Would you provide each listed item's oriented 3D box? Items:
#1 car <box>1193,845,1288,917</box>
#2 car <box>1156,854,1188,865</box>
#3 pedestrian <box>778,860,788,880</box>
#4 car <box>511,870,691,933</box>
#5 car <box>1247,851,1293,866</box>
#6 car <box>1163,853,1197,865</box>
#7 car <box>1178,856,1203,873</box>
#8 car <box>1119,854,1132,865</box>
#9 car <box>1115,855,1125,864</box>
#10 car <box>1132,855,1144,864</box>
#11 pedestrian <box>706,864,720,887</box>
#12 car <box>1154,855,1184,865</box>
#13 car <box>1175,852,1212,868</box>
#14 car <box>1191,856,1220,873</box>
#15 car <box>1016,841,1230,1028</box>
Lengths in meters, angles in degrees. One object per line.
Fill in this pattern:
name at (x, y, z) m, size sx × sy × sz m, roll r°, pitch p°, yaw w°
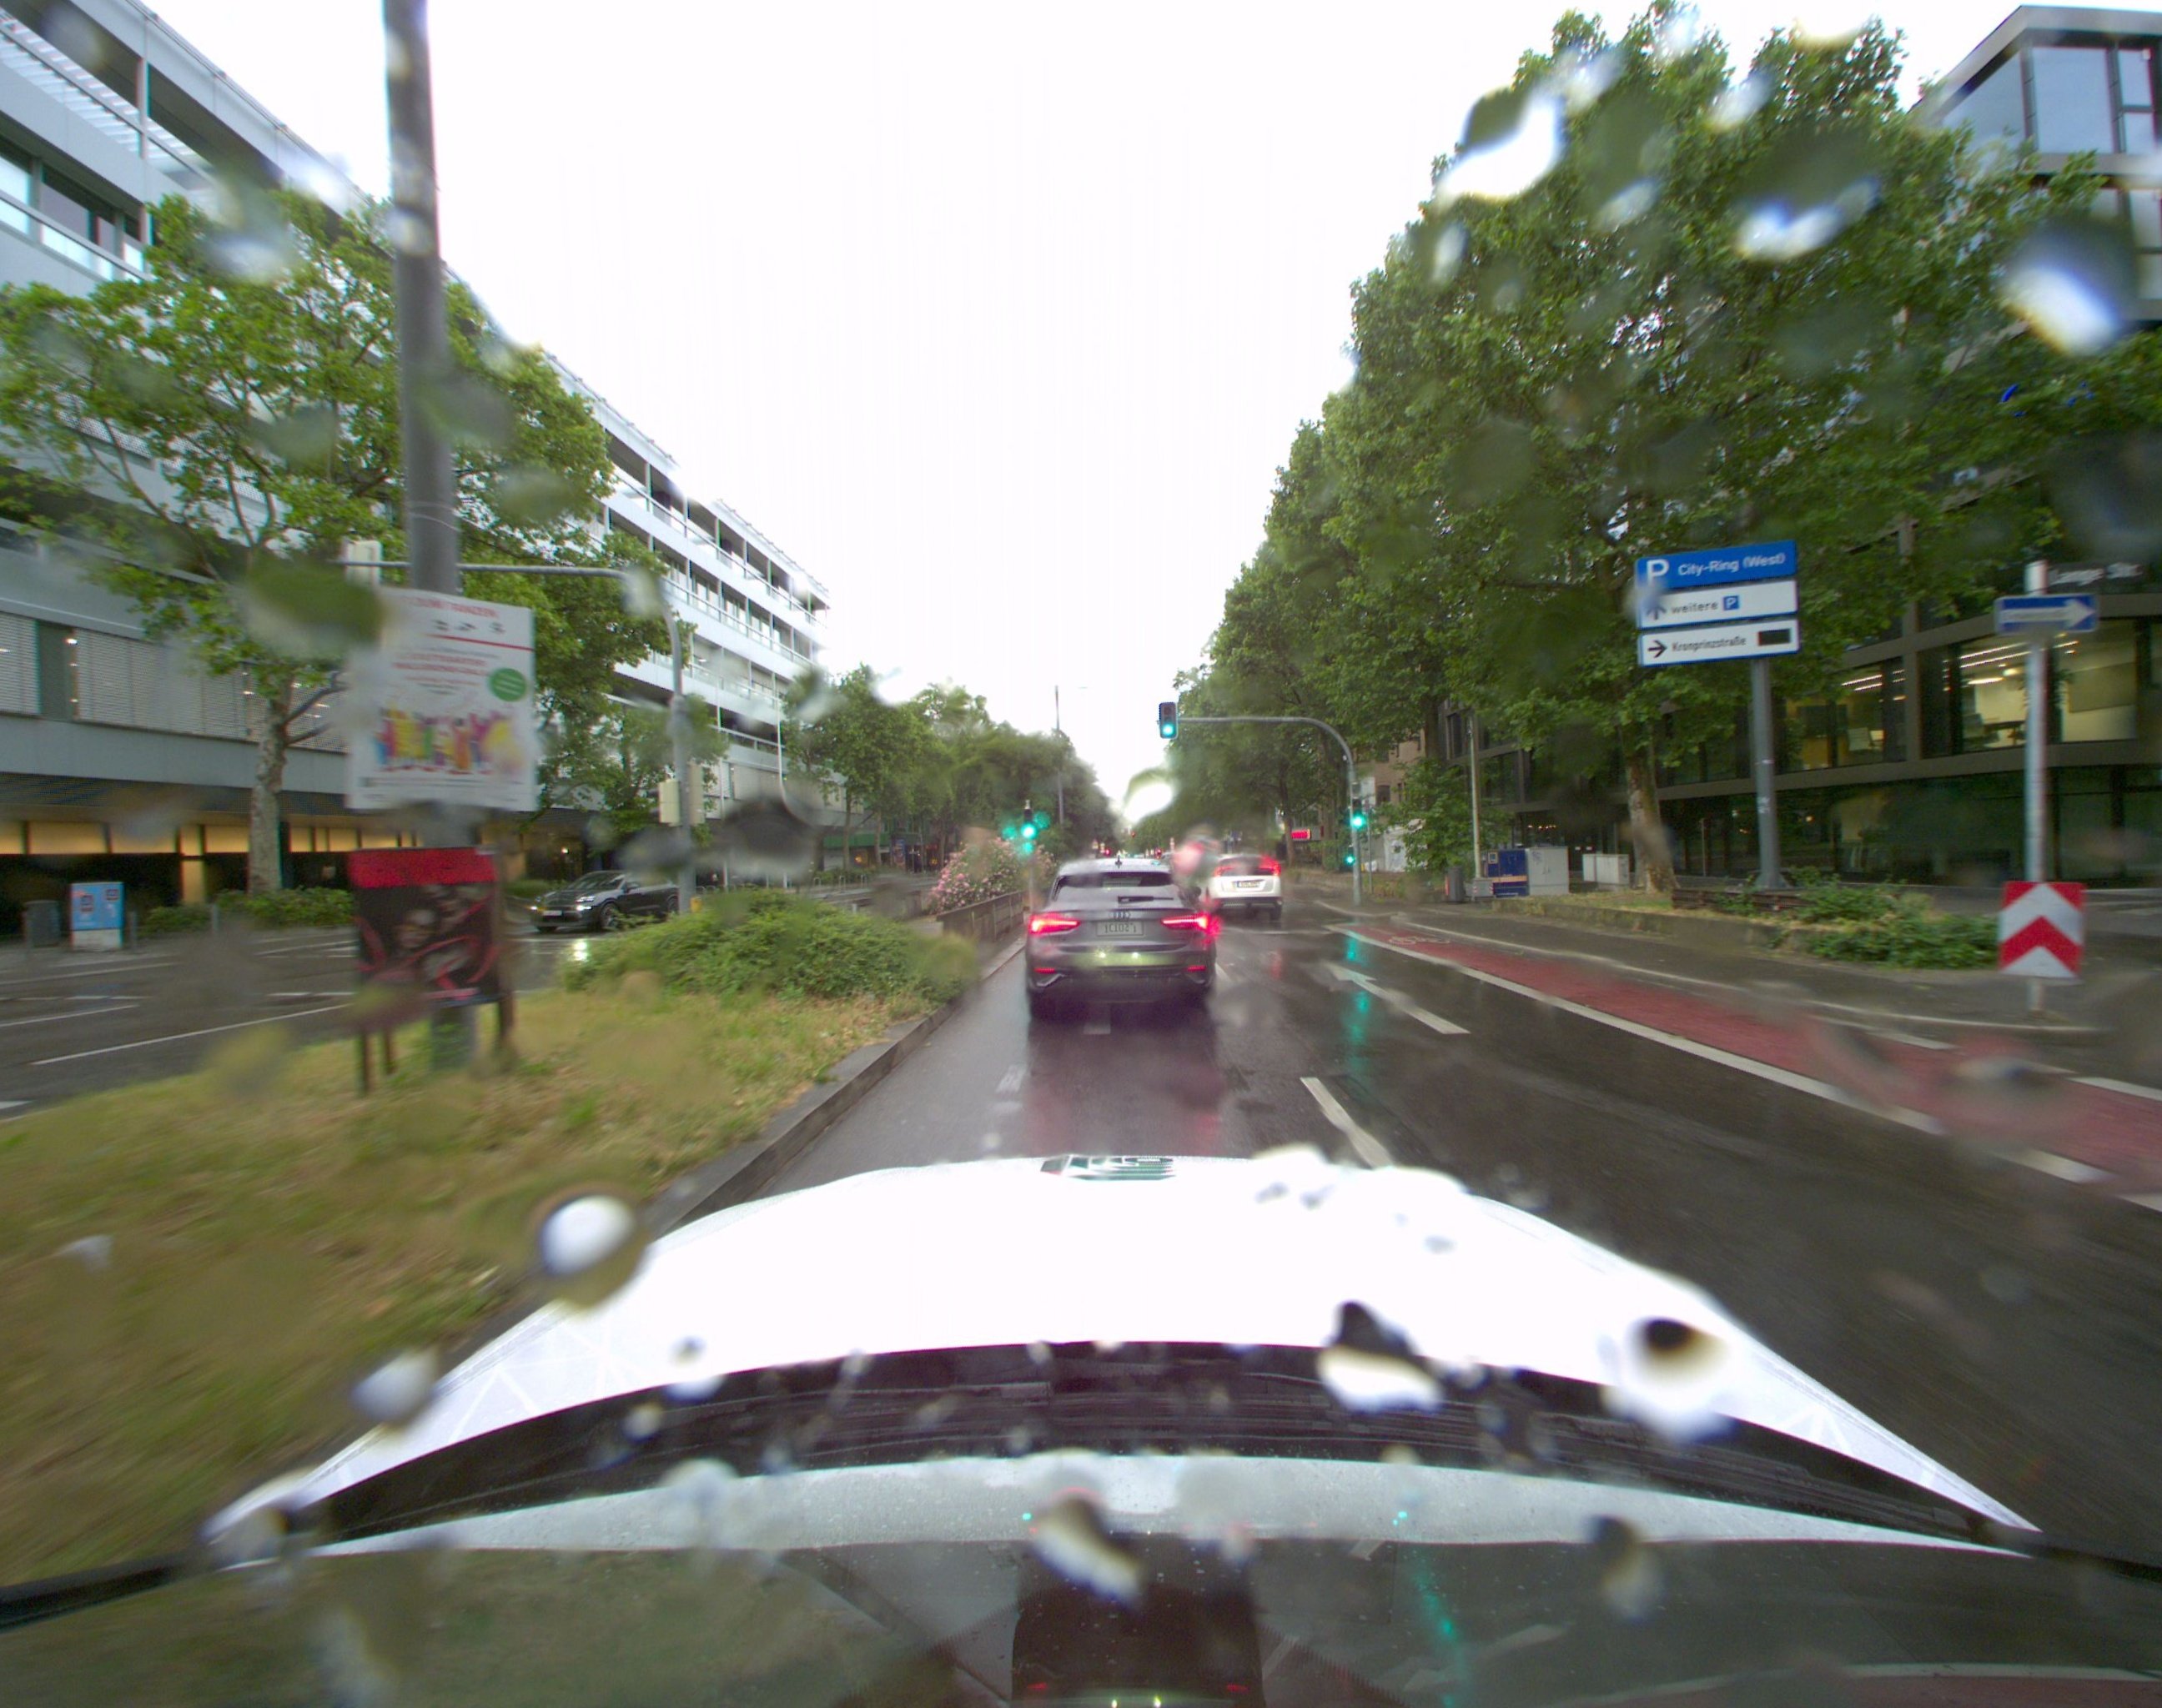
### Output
car at (4.042, 0.679, 21.263) m, size 1.870 × 1.697 × 4.002 m, roll 0°, pitch -1°, yaw 3°
car at (14.100, 0.840, 126.315) m, size 4.594 × 1.706 × 2.012 m, roll -1°, pitch -1°, yaw 30°
pedestrian at (-22.661, 1.211, 61.934) m, size 0.608 × 1.482 × 0.574 m, roll 0°, pitch -1°, yaw -1°
car at (-13.390, 1.256, 23.162) m, size 1.900 × 1.584 × 4.754 m, roll 0°, pitch -1°, yaw 6°
car at (13.522, 0.329, 58.303) m, size 2.856 × 1.074 × 1.465 m, roll -1°, pitch -1°, yaw 33°
car at (14.898, 0.757, 122.694) m, size 4.594 × 1.706 × 2.012 m, roll -1°, pitch -1°, yaw 30°
car at (10.529, 1.016, 78.384) m, size 1.723 × 1.571 × 4.070 m, roll 0°, pitch -1°, yaw -2°
car at (7.155, 0.934, 130.875) m, size 1.986 × 1.727 × 4.002 m, roll 0°, pitch -1°, yaw 2°
car at (7.109, 1.003, 148.424) m, size 1.889 × 1.599 × 3.940 m, roll 0°, pitch -1°, yaw 2°
car at (10.527, 1.033, 150.358) m, size 1.985 × 1.651 × 4.003 m, roll 0°, pitch -1°, yaw 3°
pedestrian at (-22.685, 1.319, 50.240) m, size 0.635 × 1.380 × 0.474 m, roll 0°, pitch -1°, yaw -1°
car at (15.104, 1.046, 139.675) m, size 4.594 × 1.706 × 2.012 m, roll -1°, pitch -1°, yaw 30°
car at (14.885, 0.824, 108.034) m, size 4.548 × 2.014 × 1.980 m, roll -1°, pitch -1°, yaw 41°
car at (10.307, 0.862, 67.656) m, size 1.865 × 1.421 × 4.614 m, roll 0°, pitch -1°, yaw 2°
car at (0.422, 0.722, 9.136) m, size 1.842 × 1.602 × 4.001 m, roll -1°, pitch -1°, yaw 2°
